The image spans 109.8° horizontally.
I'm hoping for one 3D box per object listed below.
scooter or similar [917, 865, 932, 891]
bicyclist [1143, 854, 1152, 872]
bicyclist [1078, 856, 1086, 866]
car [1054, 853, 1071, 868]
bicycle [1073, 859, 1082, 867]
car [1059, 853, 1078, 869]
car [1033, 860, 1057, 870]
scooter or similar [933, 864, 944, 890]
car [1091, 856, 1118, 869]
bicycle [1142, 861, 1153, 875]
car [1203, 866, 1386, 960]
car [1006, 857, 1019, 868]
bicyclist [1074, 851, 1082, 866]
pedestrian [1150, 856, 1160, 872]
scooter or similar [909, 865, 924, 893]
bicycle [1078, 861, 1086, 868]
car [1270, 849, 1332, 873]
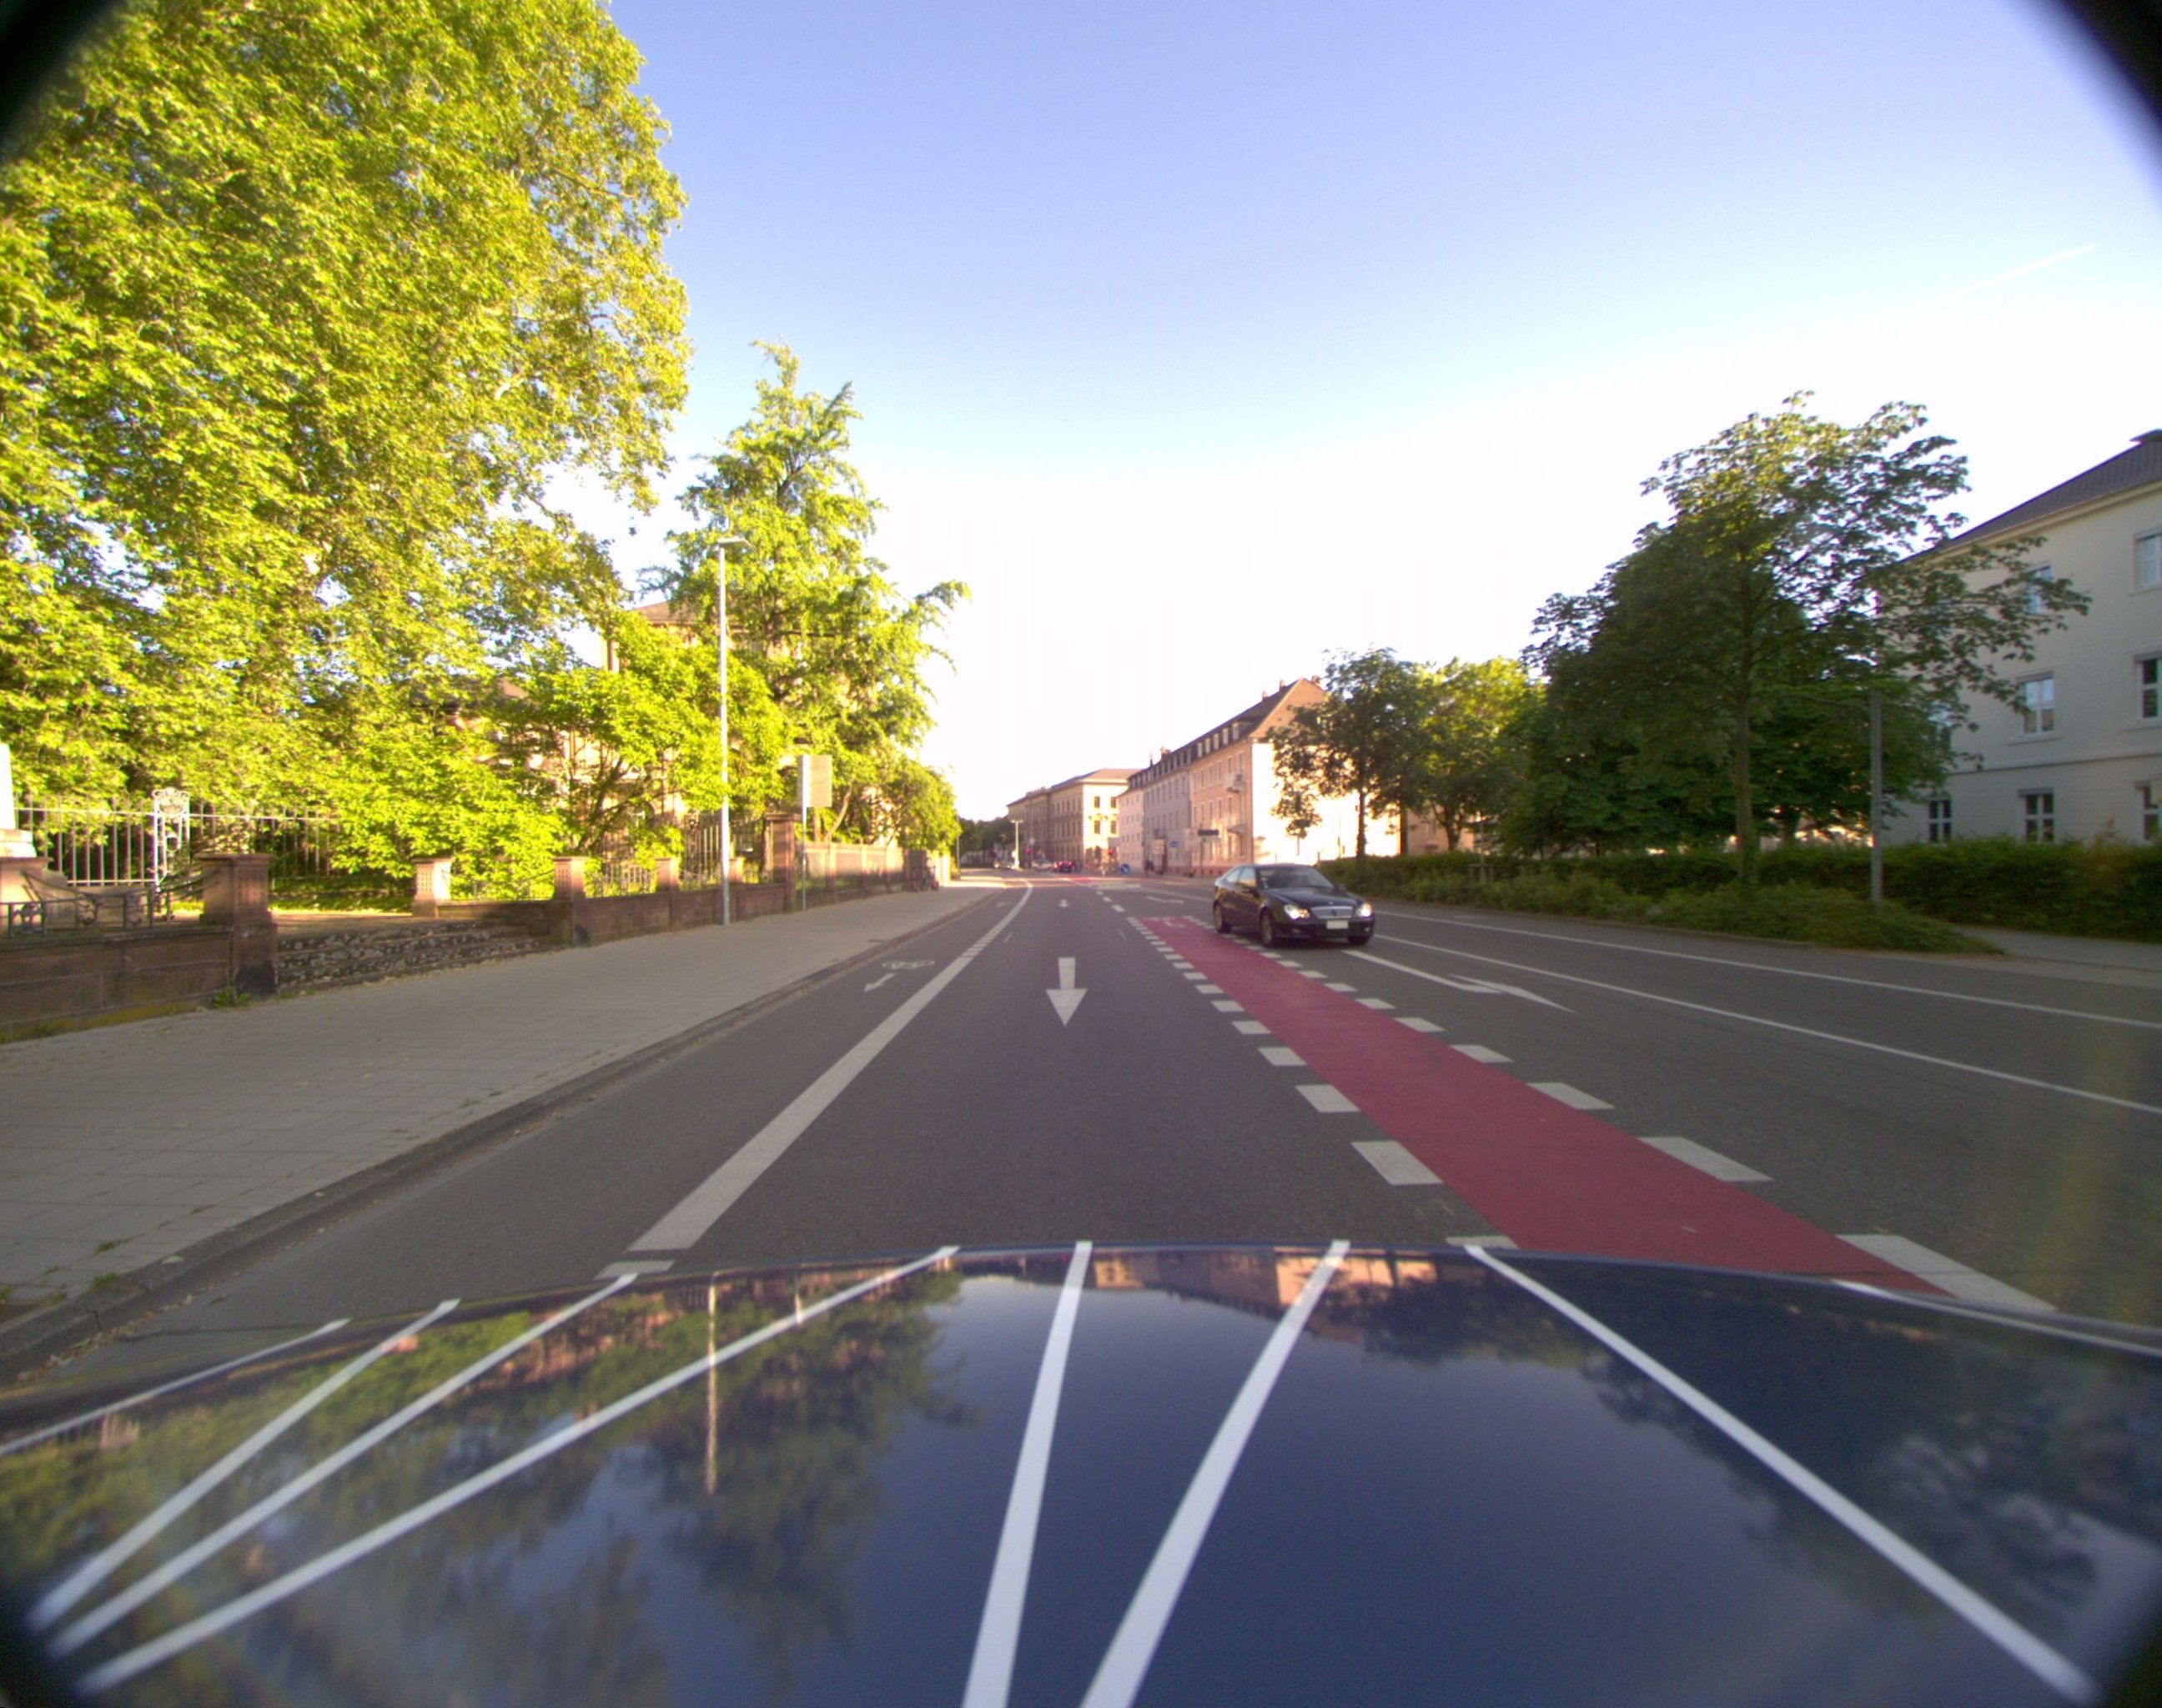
[{"bbox_3d":[-7.567,1.146,36.698,0.576,1.177,1.487,0,0,-7],"label":"scooter or similar"},{"bbox_3d":[5.897,0.777,67.218,0.691,1.553,0.838,1,0,-3],"label":"bicyclist"},{"bbox_3d":[0.154,0.956,104.094,1.026,1.481,0.870,0,0,-9],"label":"bicyclist"},{"bbox_3d":[-2.529,0.880,102.096,1.999,2.002,3.998,0,0,-5],"label":"car"},{"bbox_3d":[-0.537,1.276,108.999,0.956,1.216,2.776,0,0,-9],"label":"bicycle"},{"bbox_3d":[-1.601,0.862,96.352,1.999,2.002,3.998,0,0,-5],"label":"car"},{"bbox_3d":[-6.137,1.860,129.624,3.694,1.478,1.640,-1,1,20],"label":"car"},{"bbox_3d":[-7.094,1.136,37.779,0.517,1.233,1.521,0,0,-11],"label":"scooter or similar"},{"bbox_3d":[3.945,1.459,127.646,4.513,2.093,2.000,0,0,-1],"label":"car"},{"bbox_3d":[5.895,1.236,67.244,0.697,1.152,2.245,1,0,-3],"label":"bicycle"},{"bbox_3d":[3.693,0.941,13.989,1.710,1.397,4.261,0,0,-7],"label":"car"},{"bbox_3d":[-11.983,1.433,133.165,1.867,1.871,4.000,-2,1,1],"label":"car"},{"bbox_3d":[-0.501,0.647,109.059,0.956,2.002,1.307,0,0,-9],"label":"bicyclist"},{"bbox_3d":[9.119,1.179,93.293,0.949,1.894,1.062,-2,1,-7],"label":"pedestrian"},{"bbox_3d":[-7.553,1.131,34.845,0.577,1.246,1.486,0,0,-15],"label":"scooter or similar"},{"bbox_3d":[0.174,1.418,103.991,0.663,0.907,2.861,0,0,-9],"label":"bicycle"},{"bbox_3d":[16.614,0.530,57.560,4.000,1.652,1.998,-2,1,-9],"label":"car"}]
